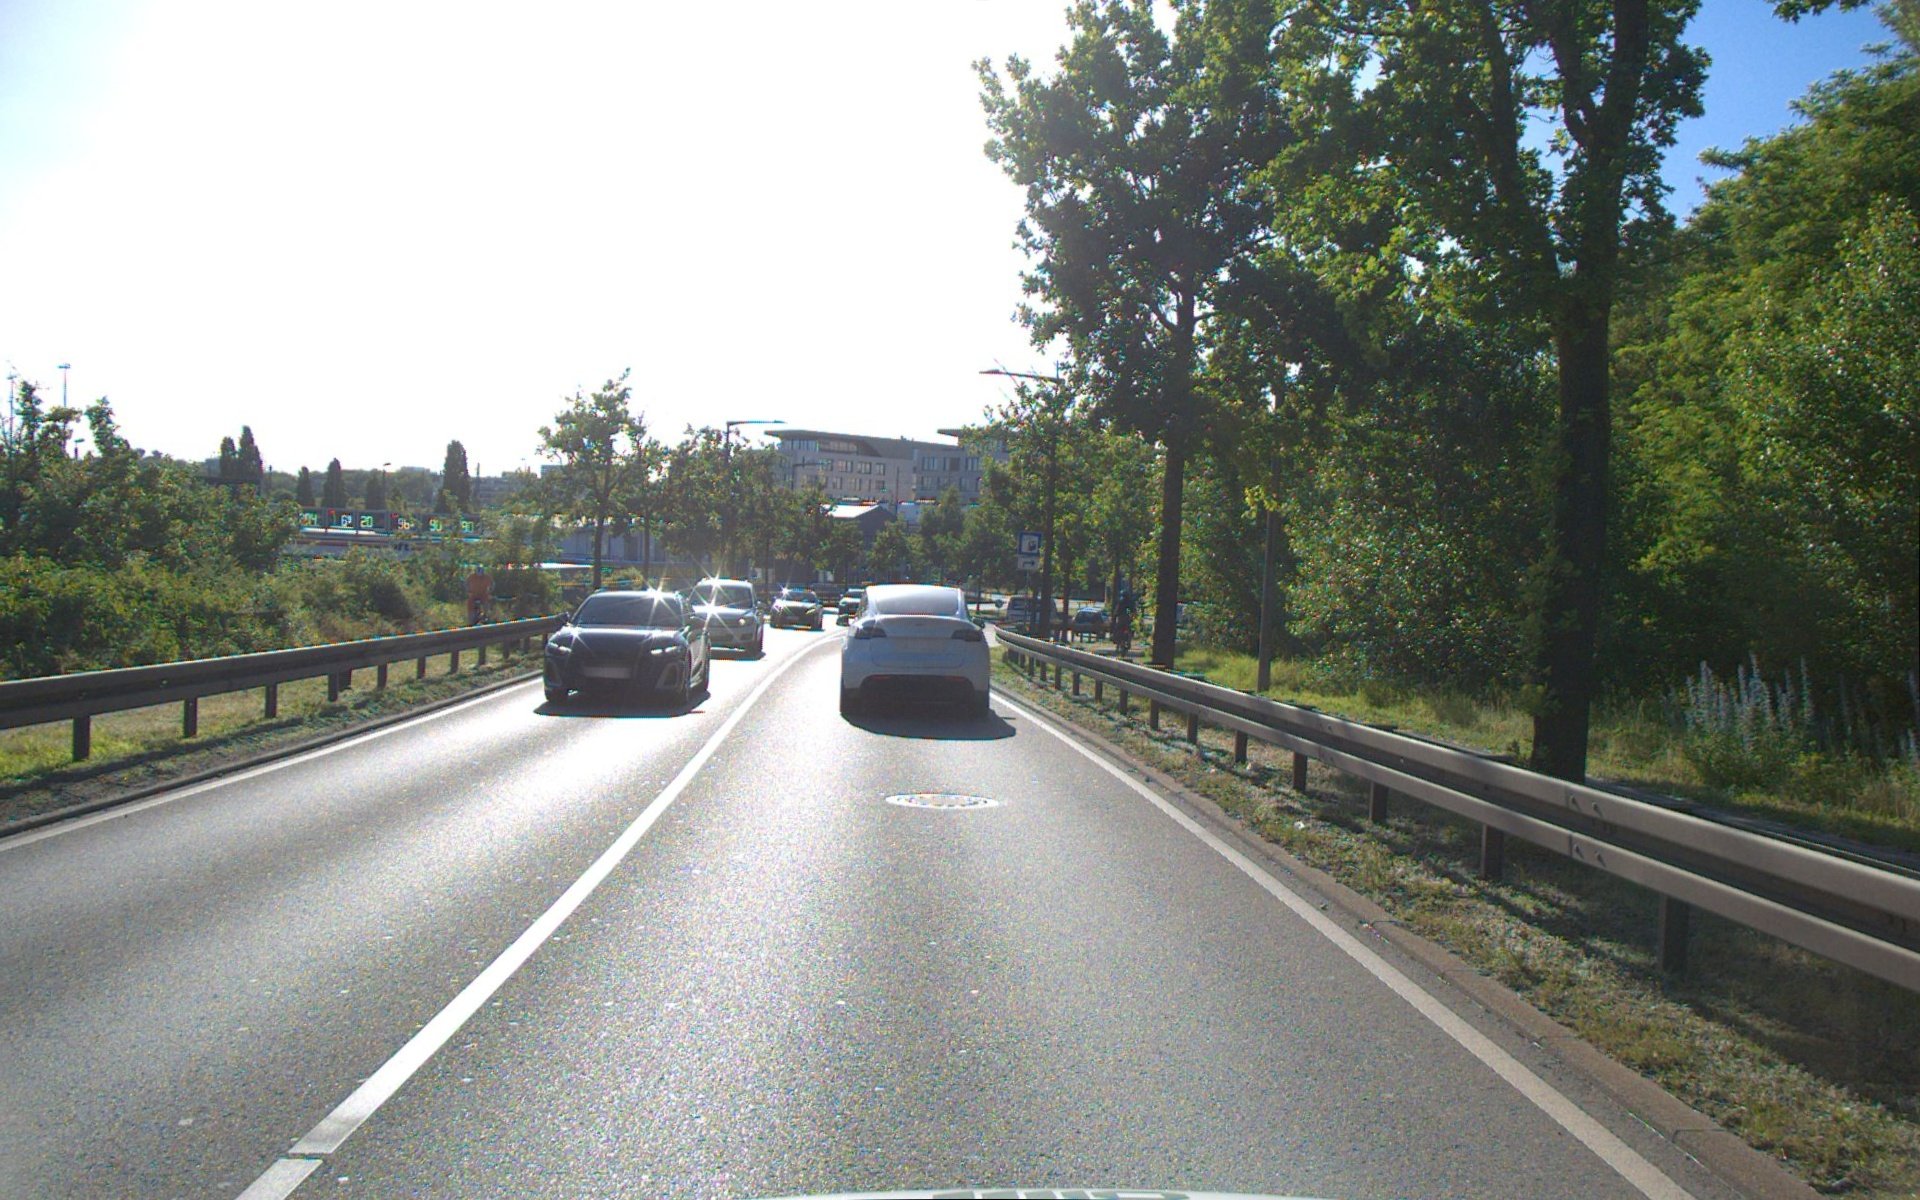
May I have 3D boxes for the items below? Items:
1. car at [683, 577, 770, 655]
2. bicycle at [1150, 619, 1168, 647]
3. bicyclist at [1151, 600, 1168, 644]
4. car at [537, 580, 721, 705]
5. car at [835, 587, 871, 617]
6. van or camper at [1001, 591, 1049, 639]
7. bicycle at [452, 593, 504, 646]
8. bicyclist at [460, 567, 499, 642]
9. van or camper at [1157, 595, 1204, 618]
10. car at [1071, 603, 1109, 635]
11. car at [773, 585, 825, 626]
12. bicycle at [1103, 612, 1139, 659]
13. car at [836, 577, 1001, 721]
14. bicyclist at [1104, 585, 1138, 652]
[{"bbox_3d":[-5.349,0.329,38.266,1.695,1.687,3.978,1,0,-4],"label":"car"},{"bbox_3d":[8.305,1.373,68.870,0.680,1.114,2.119,1,0,8],"label":"bicycle"},{"bbox_3d":[8.312,0.908,68.821,0.661,1.807,0.949,1,0,8],"label":"bicyclist"},{"bbox_3d":[-4.446,0.502,22.883,1.813,1.518,4.713,1,1,-3],"label":"car"},{"bbox_3d":[-5.782,0.076,89.800,1.773,1.522,4.368,1,1,-1],"label":"car"},{"bbox_3d":[2.828,0.599,71.225,1.917,1.916,4.882,1,0,4],"label":"van or camper"},{"bbox_3d":[-10.810,0.426,37.171,0.647,1.114,2.107,1,0,-4],"label":"bicycle"},{"bbox_3d":[-10.810,0.088,37.252,0.638,1.651,0.873,1,0,-4],"label":"bicyclist"},{"bbox_3d":[18.503,0.551,138.523,1.797,1.821,4.525,5,3,37],"label":"van or camper"},{"bbox_3d":[7.184,1.023,91.180,1.570,1.459,3.682,4,3,12],"label":"car"},{"bbox_3d":[-6.068,0.188,62.709,1.657,1.466,4.214,1,1,-2],"label":"car"},{"bbox_3d":[3.953,0.875,40.585,0.686,1.093,1.922,1,-1,10],"label":"bicycle"},{"bbox_3d":[-0.657,0.563,21.919,1.877,1.669,4.406,1,0,-5],"label":"car"},{"bbox_3d":[3.962,0.458,40.639,0.692,1.606,1.005,1,-2,10],"label":"bicyclist"}]
